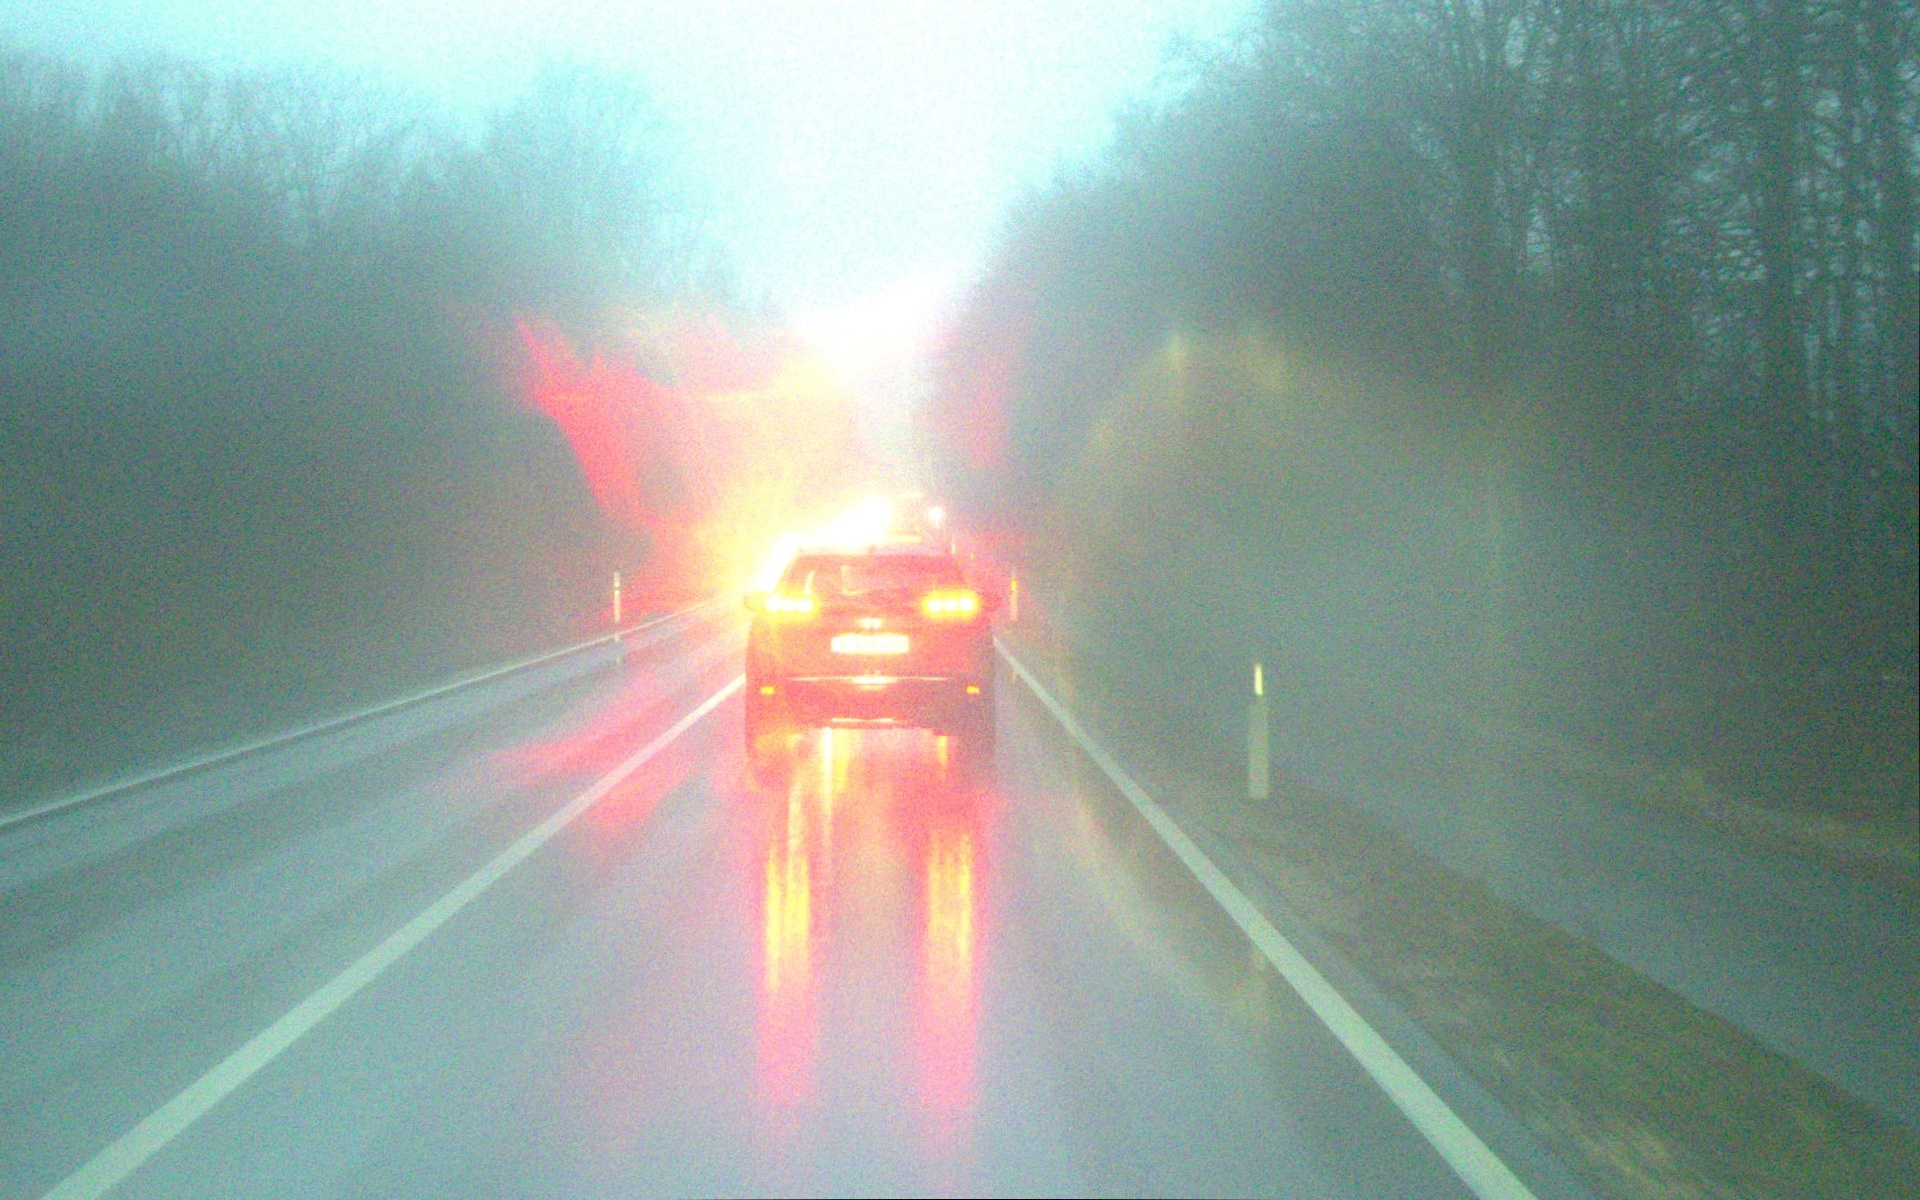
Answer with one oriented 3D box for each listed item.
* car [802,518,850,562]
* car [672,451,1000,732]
[{"bbox_3d":[-4.950,-2.232,127.210,1.748,1.547,3.994,0,2,-2],"label":"car"},{"bbox_3d":[-0.893,-0.124,25.726,2.198,1.871,4.828,1,2,-1],"label":"car"}]
